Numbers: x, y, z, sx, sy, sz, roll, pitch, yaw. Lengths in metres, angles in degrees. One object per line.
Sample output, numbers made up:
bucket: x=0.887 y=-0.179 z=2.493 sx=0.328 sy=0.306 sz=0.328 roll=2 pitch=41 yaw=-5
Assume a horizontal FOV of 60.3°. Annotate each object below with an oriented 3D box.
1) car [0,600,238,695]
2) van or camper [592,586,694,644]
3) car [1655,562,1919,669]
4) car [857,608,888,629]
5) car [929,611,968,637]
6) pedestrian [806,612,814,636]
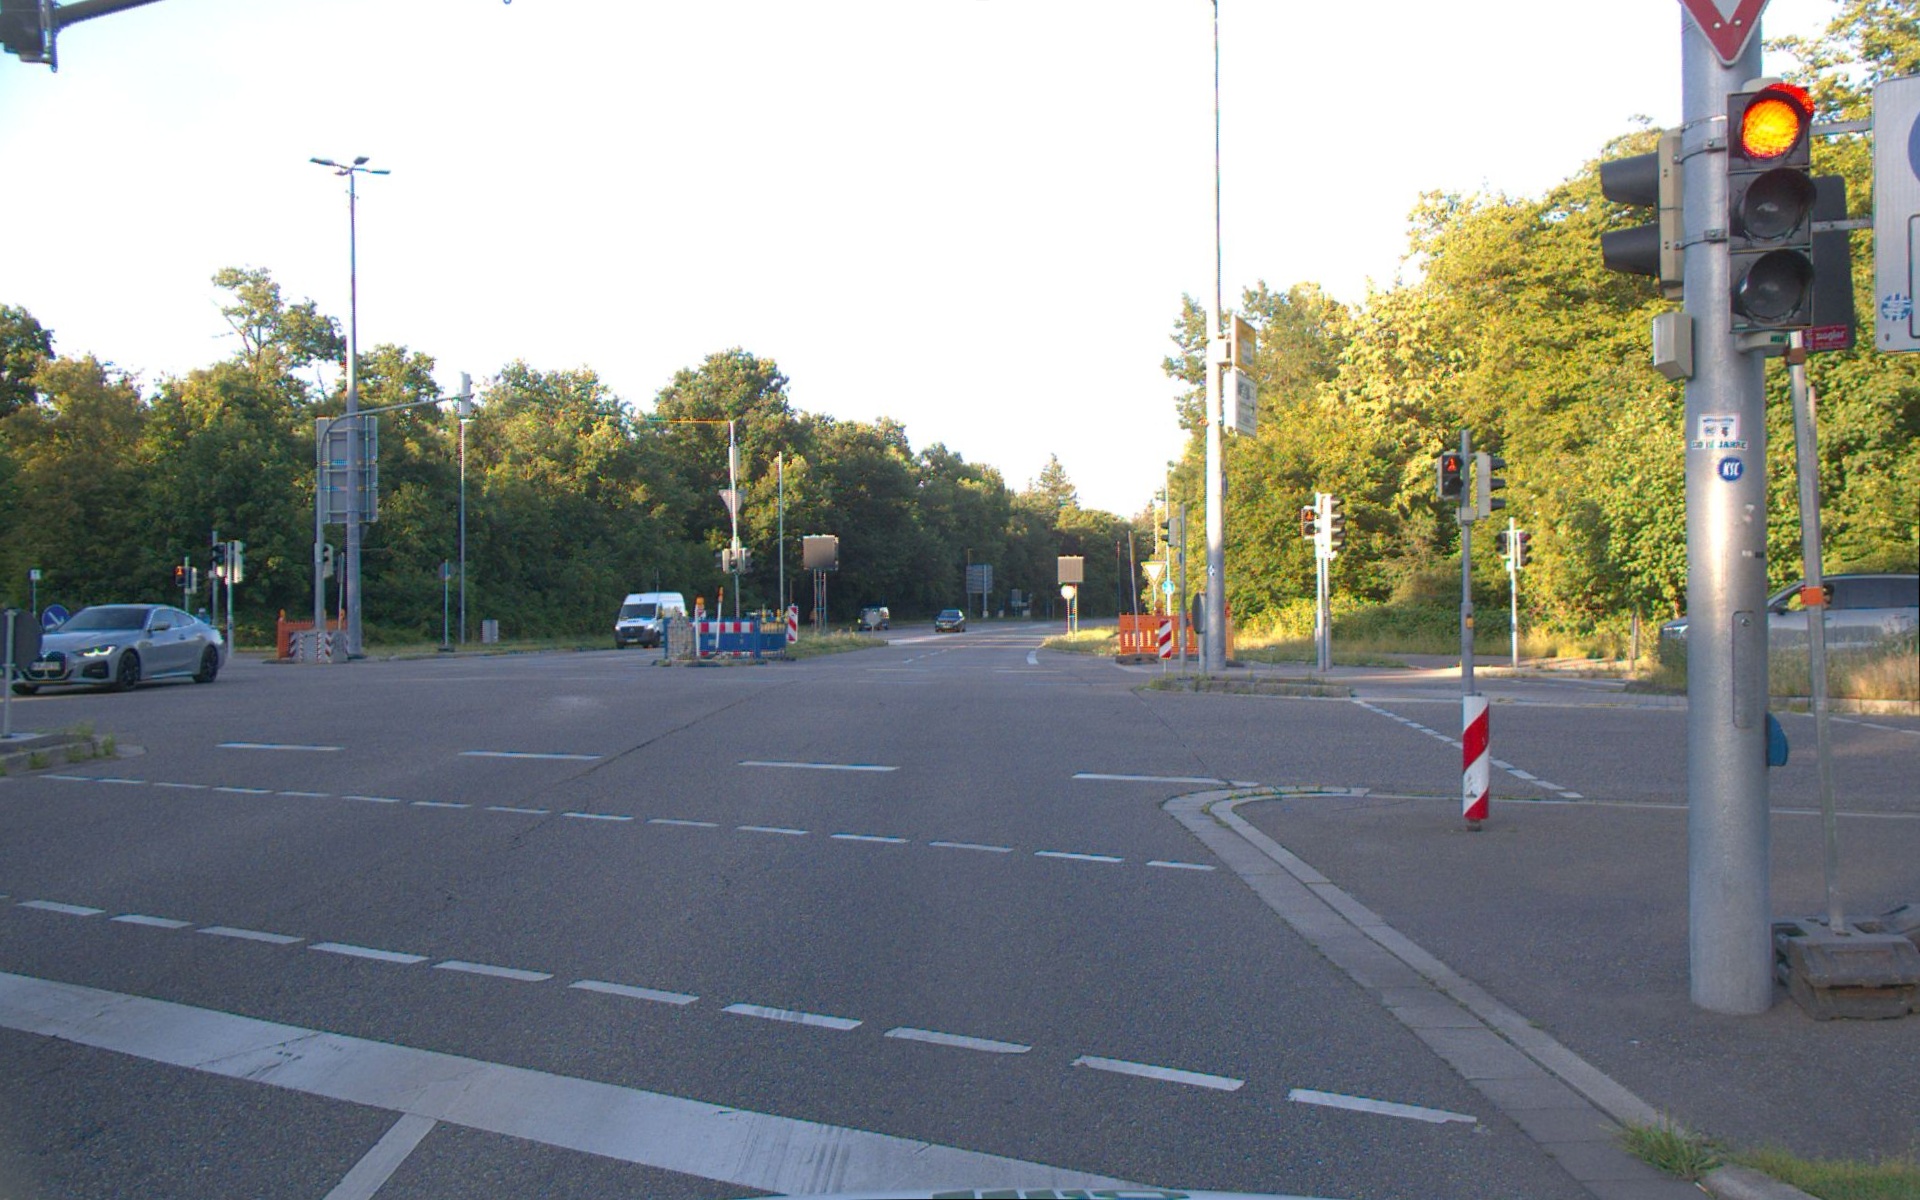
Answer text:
car: x=-14.150 y=0.742 z=27.969 sx=1.852 sy=1.466 sz=4.500 roll=0 pitch=0 yaw=1
van or camper: x=-15.334 y=0.710 z=80.458 sx=2.824 sy=2.699 sz=7.127 roll=0 pitch=0 yaw=7
car: x=13.746 y=0.245 z=26.487 sx=4.716 sy=1.626 sz=2.000 roll=-1 pitch=0 yaw=21
car: x=-7.201 y=1.551 z=136.300 sx=1.951 sy=1.668 sz=4.003 roll=0 pitch=0 yaw=7
car: x=-0.798 y=1.685 z=118.522 sx=1.951 sy=1.668 sz=4.004 roll=-2 pitch=1 yaw=11
pedestrian: x=-12.536 y=1.999 z=138.250 sx=0.511 sy=2.049 sz=0.600 roll=1 pitch=-1 yaw=-1
